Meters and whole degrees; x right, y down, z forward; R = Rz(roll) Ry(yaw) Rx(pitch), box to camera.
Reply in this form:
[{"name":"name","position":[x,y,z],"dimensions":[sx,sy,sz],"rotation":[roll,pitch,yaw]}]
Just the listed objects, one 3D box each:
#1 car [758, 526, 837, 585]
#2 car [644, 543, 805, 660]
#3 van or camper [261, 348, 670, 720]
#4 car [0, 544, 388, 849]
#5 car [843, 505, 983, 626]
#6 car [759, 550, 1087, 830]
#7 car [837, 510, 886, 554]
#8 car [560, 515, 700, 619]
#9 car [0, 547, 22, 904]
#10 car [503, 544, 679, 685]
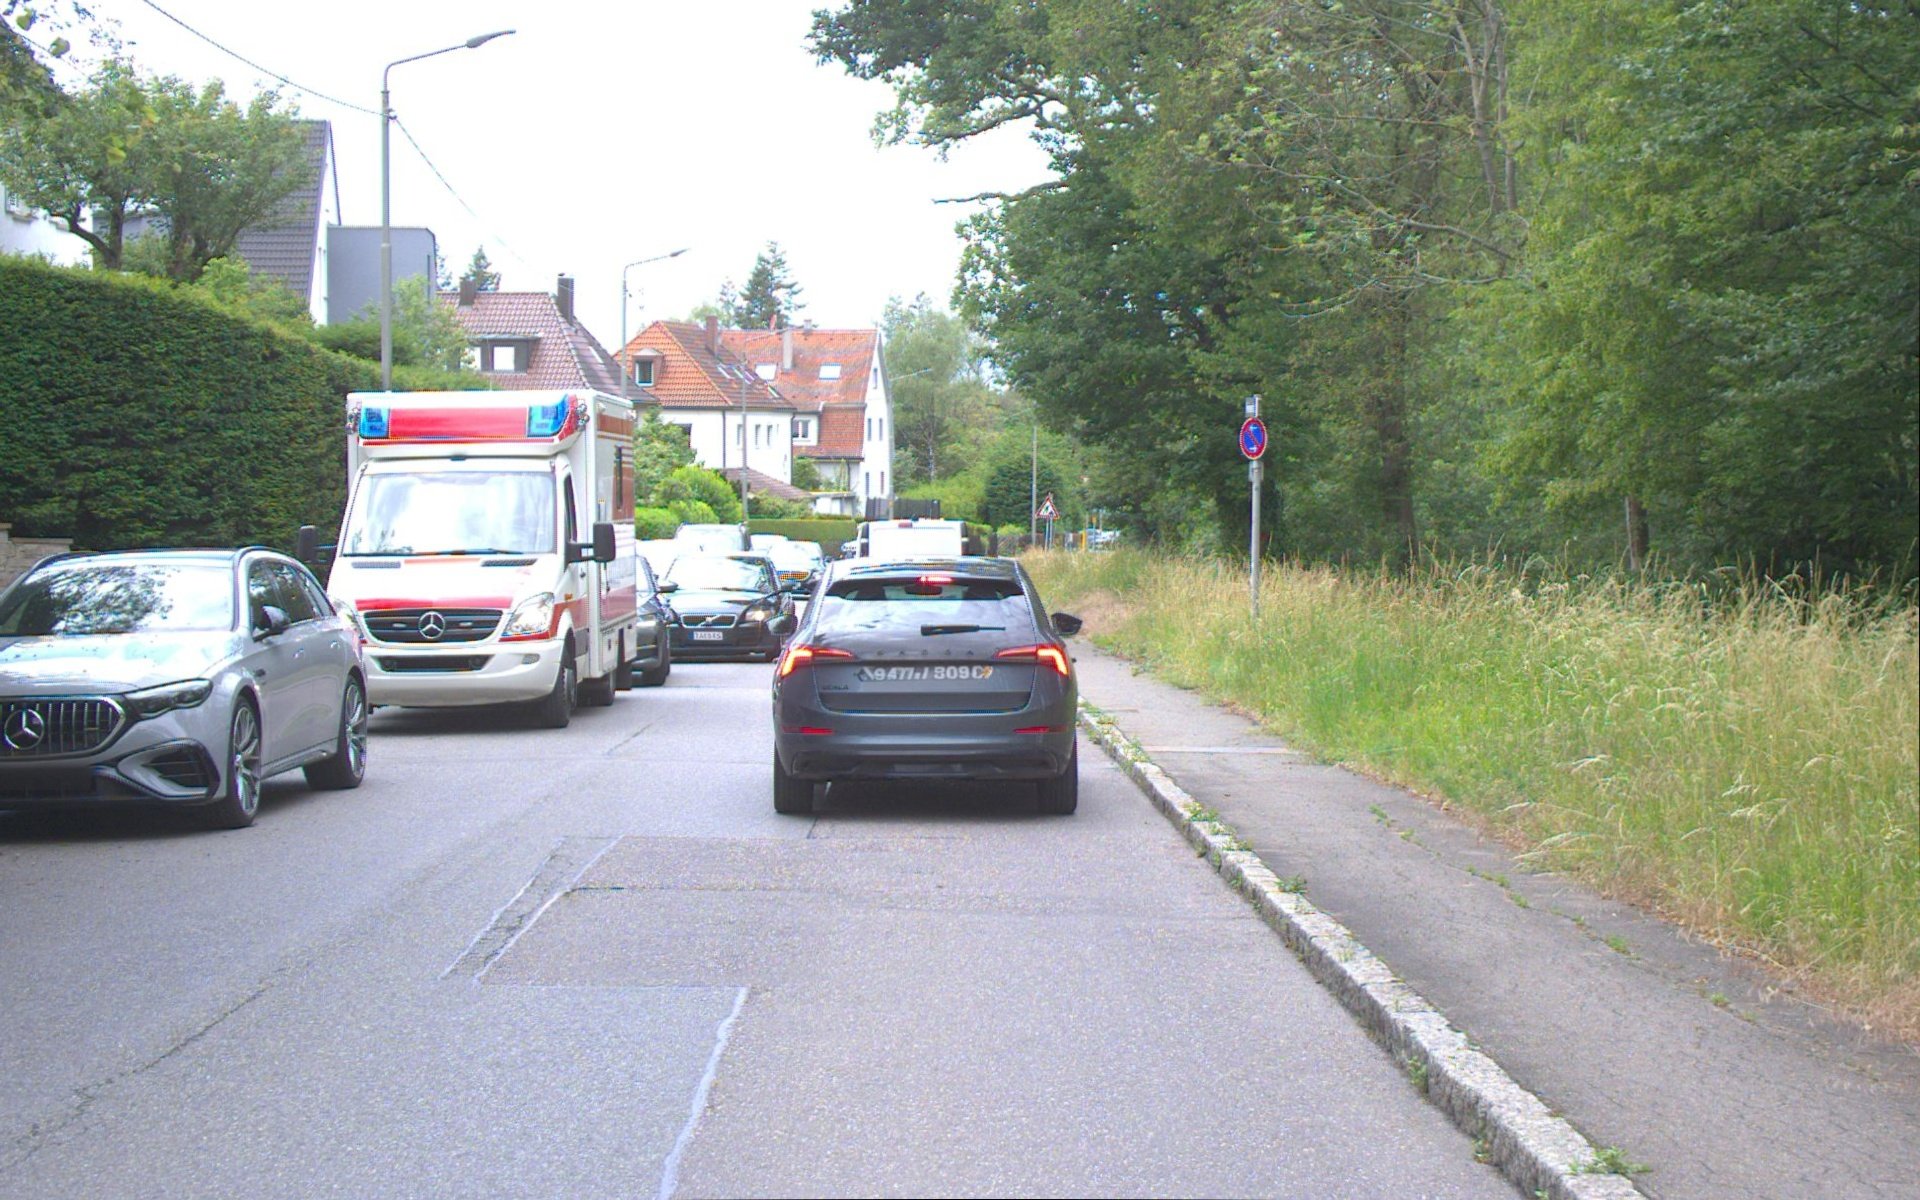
[{"name":"car","position":[-4.088,-1.149,86.862],"dimensions":[1.863,1.409,4.593],"rotation":[2,1,-2]},{"name":"car","position":[-3.042,-0.020,45.190],"dimensions":[1.763,1.441,4.474],"rotation":[0,1,0]},{"name":"van or camper","position":[-4.152,-0.581,30.357],"dimensions":[2.456,2.885,7.168],"rotation":[0,1,1]},{"name":"car","position":[-4.643,0.455,19.710],"dimensions":[1.798,1.499,4.863],"rotation":[-2,1,1]},{"name":"car","position":[-0.842,-0.611,58.169],"dimensions":[2.071,1.915,4.923],"rotation":[1,1,-4]},{"name":"car","position":[-0.325,0.457,20.747],"dimensions":[1.727,1.434,4.324],"rotation":[1,1,-4]},{"name":"car","position":[-3.812,-2.635,133.244],"dimensions":[1.833,1.591,4.324],"rotation":[1,2,-1]},{"name":"car","position":[-5.503,-0.575,57.702],"dimensions":[1.838,1.643,4.186],"rotation":[-1,1,1]},{"name":"car","position":[-4.876,0.578,12.768],"dimensions":[1.720,1.499,4.061],"rotation":[-2,1,-1]},{"name":"car","position":[-4.034,0.117,38.103],"dimensions":[1.763,1.441,4.474],"rotation":[0,1,-4]}]
